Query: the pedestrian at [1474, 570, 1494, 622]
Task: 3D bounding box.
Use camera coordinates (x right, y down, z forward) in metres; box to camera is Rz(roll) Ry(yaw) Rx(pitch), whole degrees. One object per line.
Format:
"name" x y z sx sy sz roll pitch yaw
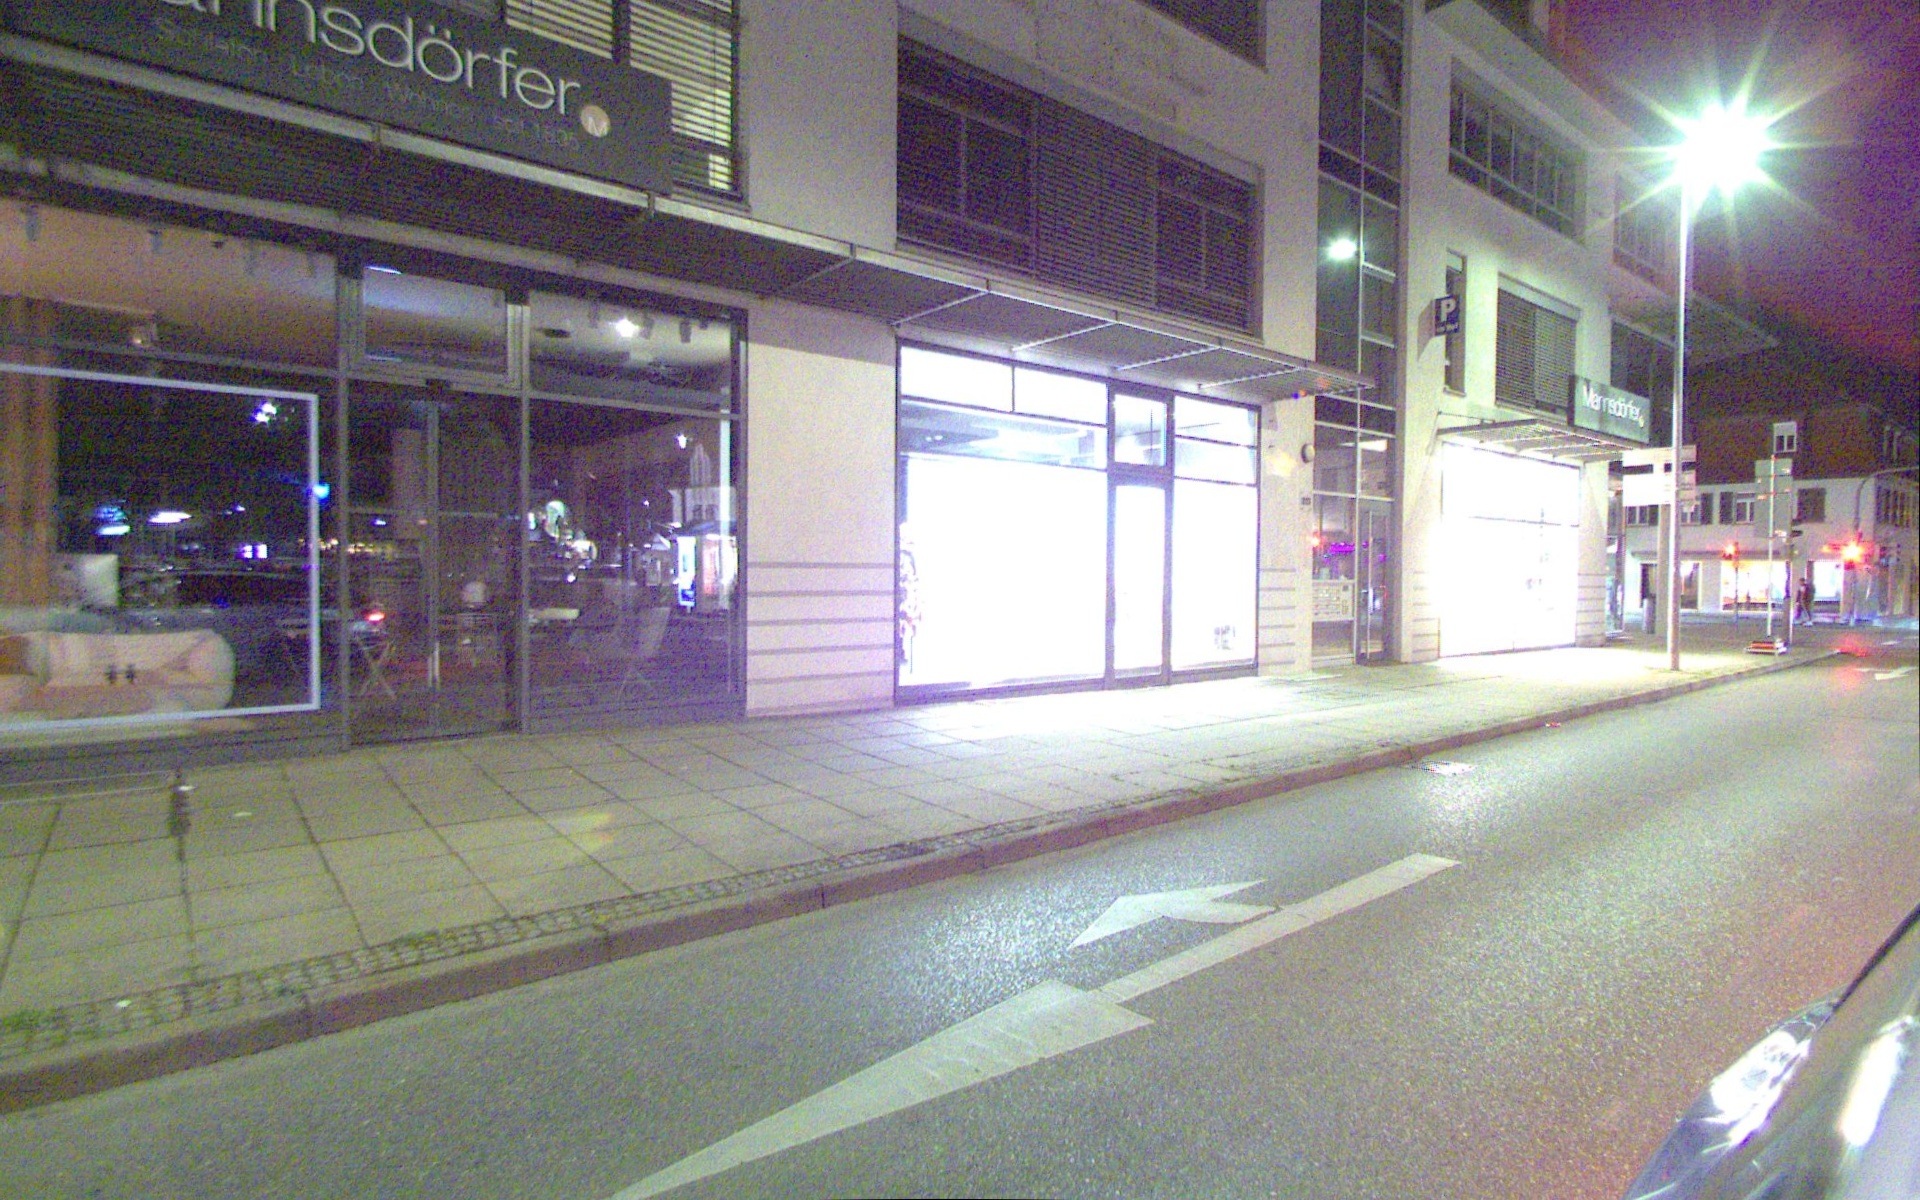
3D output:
"pedestrian" 17.517 -0.127 33.815 0.478 1.708 0.407 0 0 -36

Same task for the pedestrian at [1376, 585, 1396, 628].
"pedestrian" 17.441 0.271 41.417 0.556 1.738 0.524 0 0 -36

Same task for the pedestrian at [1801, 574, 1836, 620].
"pedestrian" 33.281 -0.138 39.251 0.635 1.755 0.877 0 2 -37
